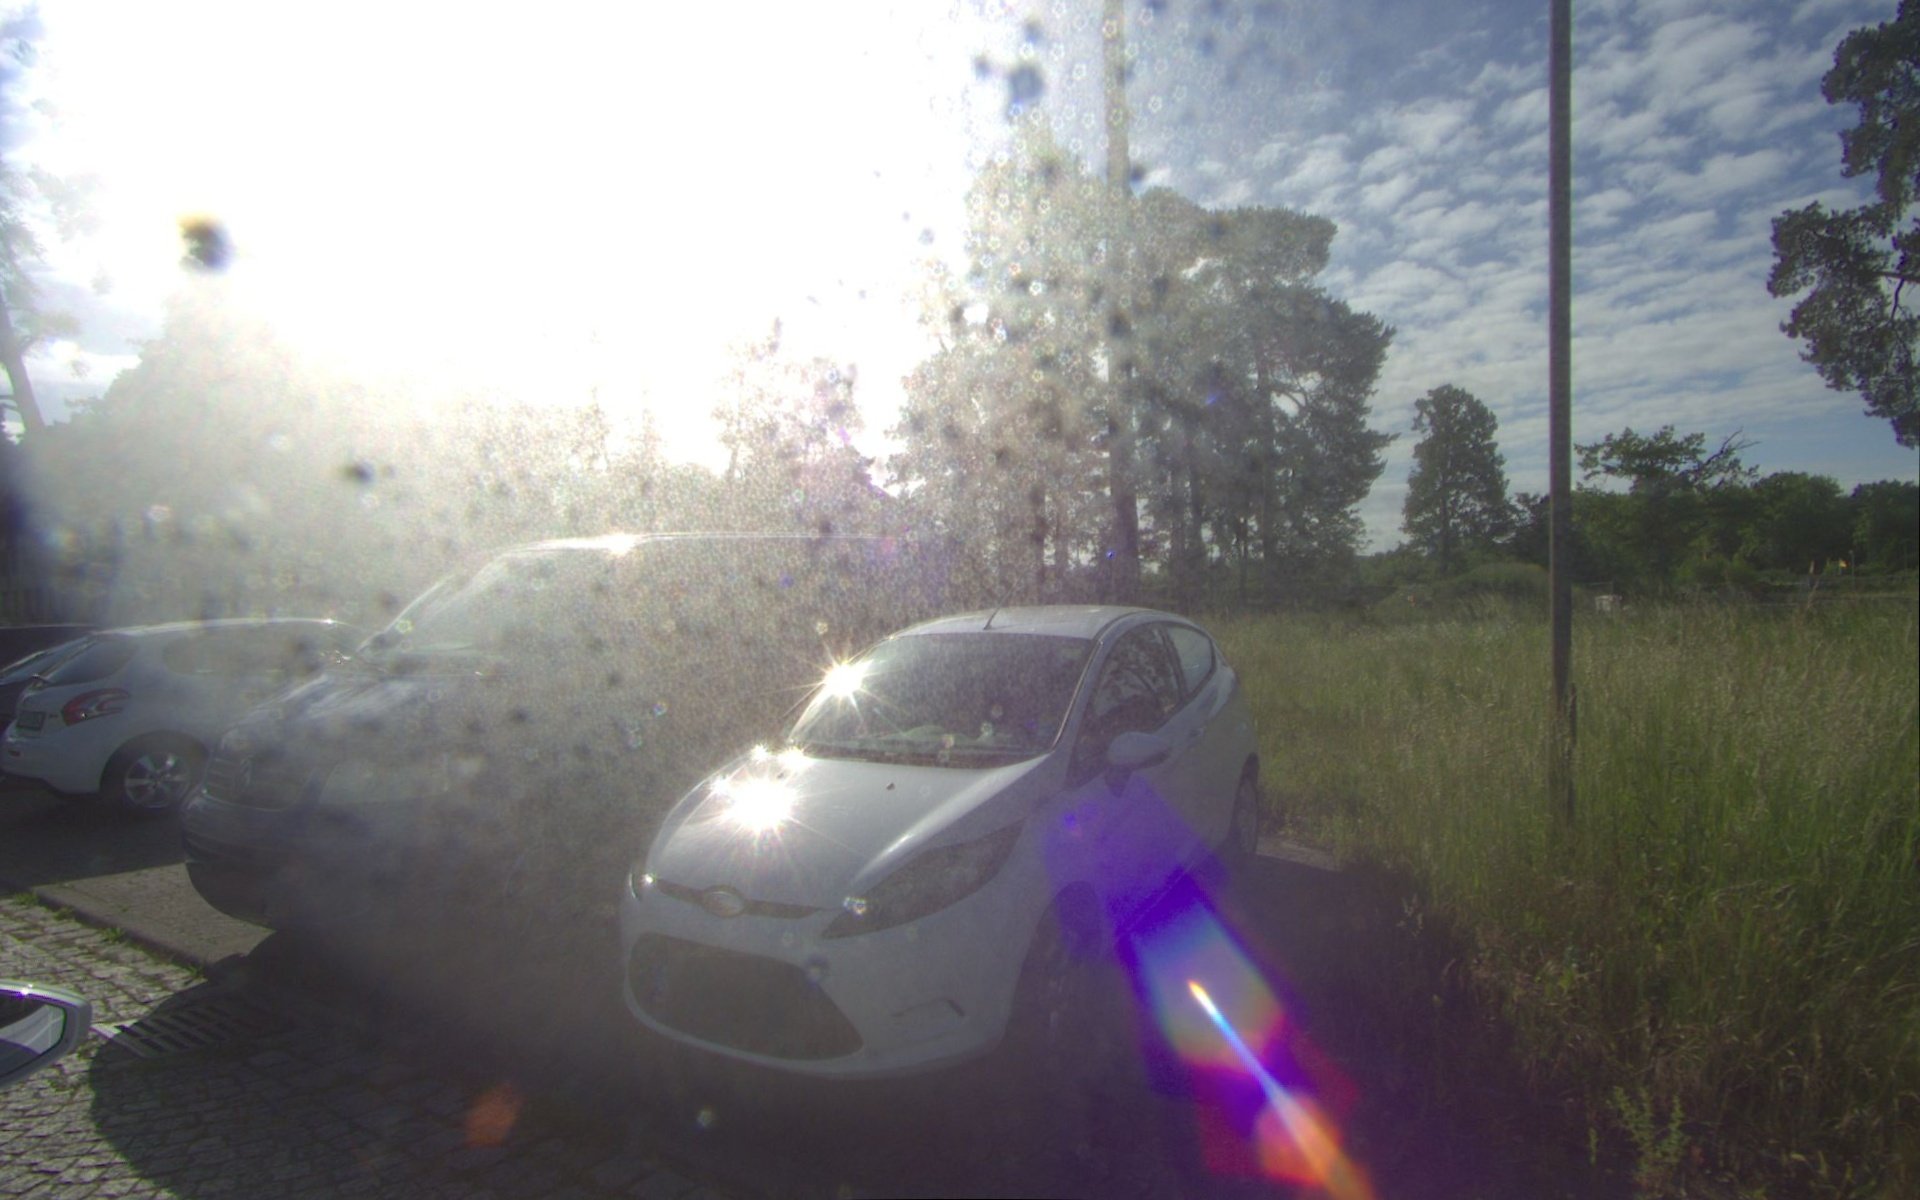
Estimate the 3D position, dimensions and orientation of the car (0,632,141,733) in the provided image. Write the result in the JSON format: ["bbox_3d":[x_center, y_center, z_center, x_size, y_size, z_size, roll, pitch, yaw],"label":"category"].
[{"bbox_3d":[-13.247,1.107,13.234,1.515,1.259,3.452,-1,0,33],"label":"car"}]

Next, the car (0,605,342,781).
[{"bbox_3d":[-8.771,0.862,10.232,1.733,1.470,3.769,-1,1,34],"label":"car"}]

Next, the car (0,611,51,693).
[{"bbox_3d":[-19.324,1.060,17.577,1.842,1.475,4.610,-1,2,30],"label":"car"}]

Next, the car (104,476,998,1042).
[{"bbox_3d":[-1.833,0.497,6.127,1.972,2.041,4.741,-1,2,33],"label":"car"}]

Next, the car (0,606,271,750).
[{"bbox_3d":[-10.863,0.896,12.221,1.643,1.475,3.653,-1,2,32],"label":"car"}]

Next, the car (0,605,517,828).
[{"bbox_3d":[-6.131,0.834,9.000,1.611,1.512,3.636,-1,0,33],"label":"car"}]

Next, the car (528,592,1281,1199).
[{"bbox_3d":[0.209,0.765,4.509,1.586,1.487,3.713,-1,2,30],"label":"car"}]

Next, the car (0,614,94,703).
[{"bbox_3d":[-16.950,1.014,15.966,1.763,1.407,4.389,-1,1,31],"label":"car"}]

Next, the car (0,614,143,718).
[{"bbox_3d":[-14.961,1.014,14.934,1.632,1.468,3.970,-1,1,32],"label":"car"}]
